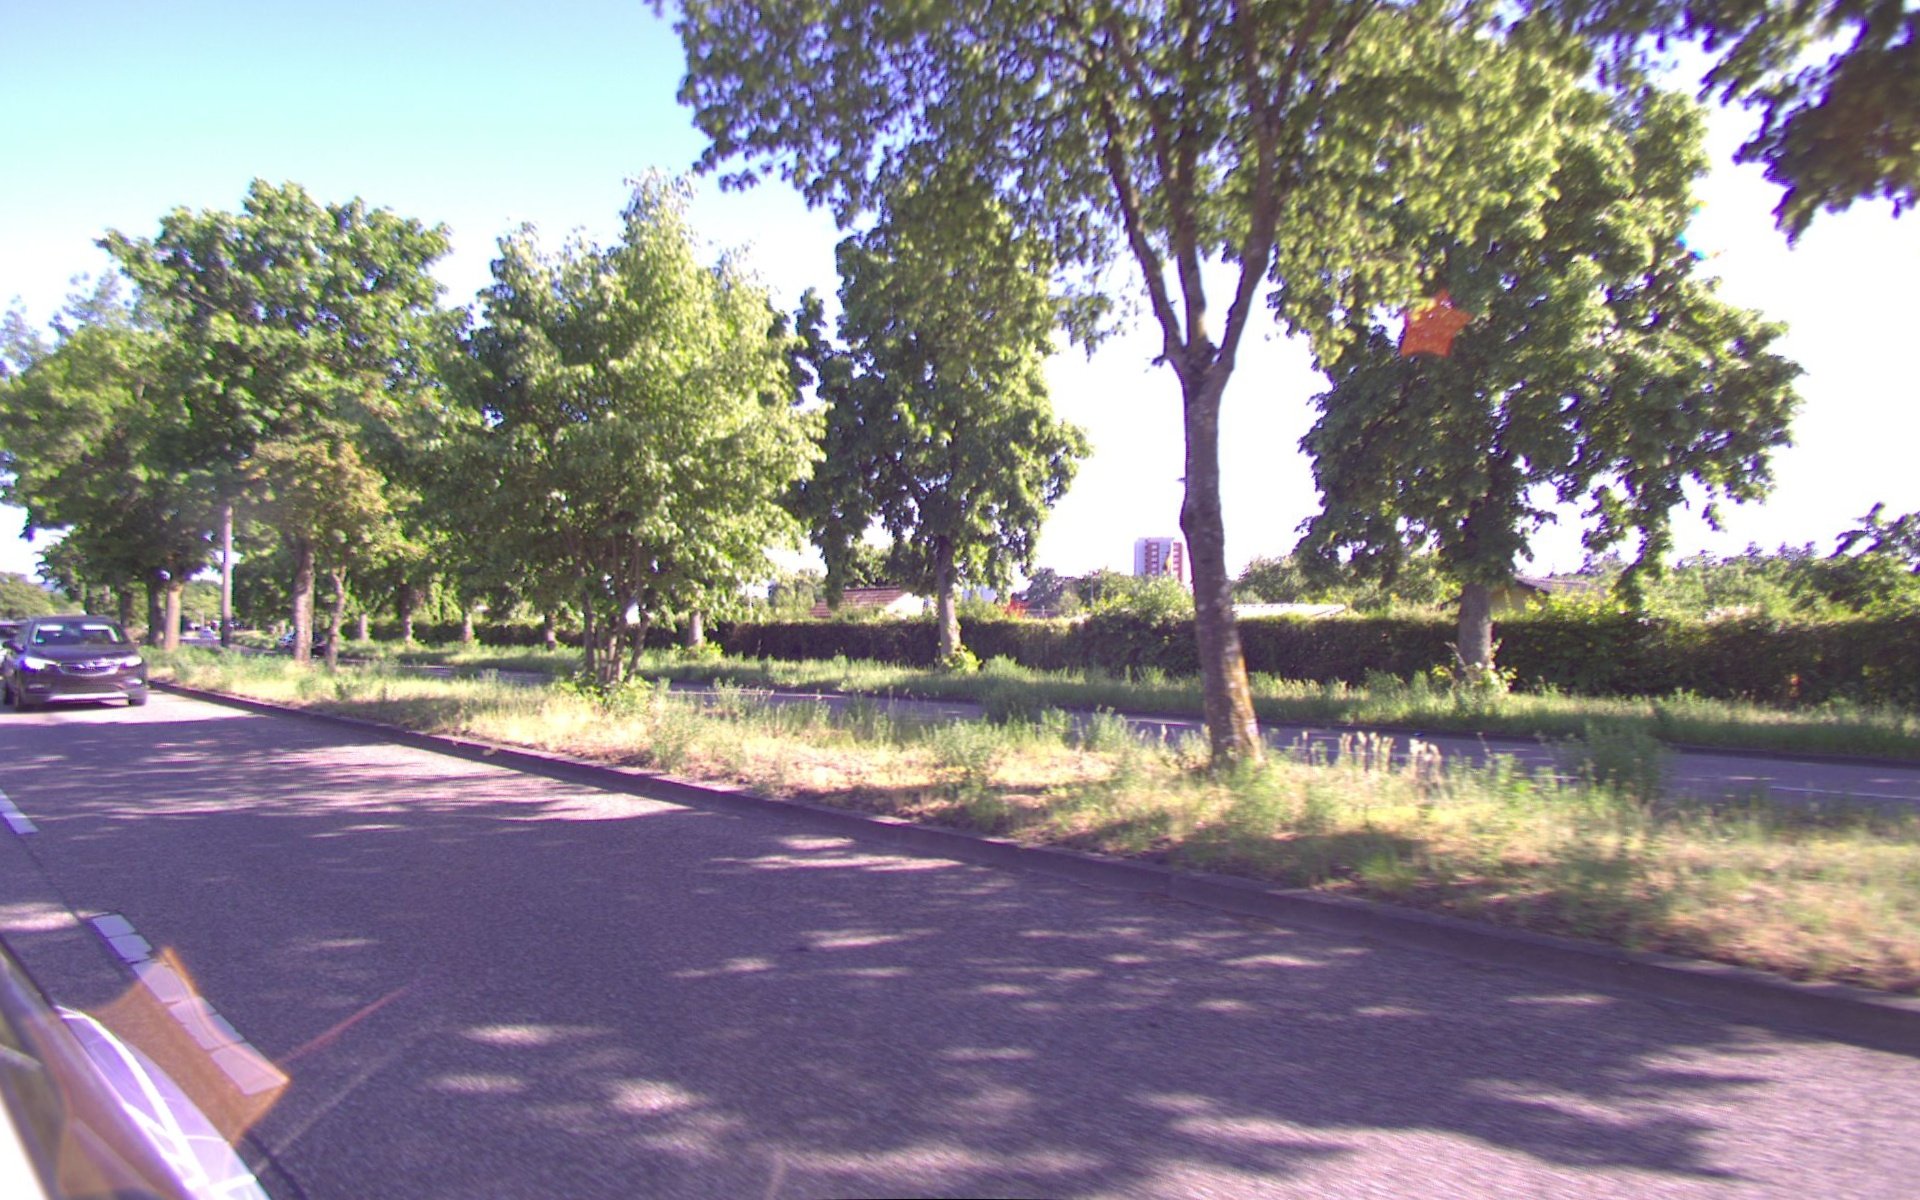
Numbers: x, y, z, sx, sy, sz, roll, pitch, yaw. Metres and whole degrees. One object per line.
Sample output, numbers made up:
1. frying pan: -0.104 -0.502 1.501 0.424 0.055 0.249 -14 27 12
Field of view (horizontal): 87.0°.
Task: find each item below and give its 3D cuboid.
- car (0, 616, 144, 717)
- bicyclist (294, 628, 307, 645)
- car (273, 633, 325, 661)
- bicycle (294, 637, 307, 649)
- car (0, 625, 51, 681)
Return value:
1. car: -16.381 1.116 18.602 1.785 1.627 4.519 1 -1 -43
2. bicyclist: -54.391 3.026 83.462 0.681 1.432 1.001 1 -2 -42
3. car: -36.691 2.592 56.124 1.672 1.447 4.947 4 -4 -41
4. bicycle: -54.358 3.560 83.413 0.681 1.004 1.843 1 -2 -42
5. car: -28.824 1.572 30.713 1.797 1.574 4.651 0 -2 -43
